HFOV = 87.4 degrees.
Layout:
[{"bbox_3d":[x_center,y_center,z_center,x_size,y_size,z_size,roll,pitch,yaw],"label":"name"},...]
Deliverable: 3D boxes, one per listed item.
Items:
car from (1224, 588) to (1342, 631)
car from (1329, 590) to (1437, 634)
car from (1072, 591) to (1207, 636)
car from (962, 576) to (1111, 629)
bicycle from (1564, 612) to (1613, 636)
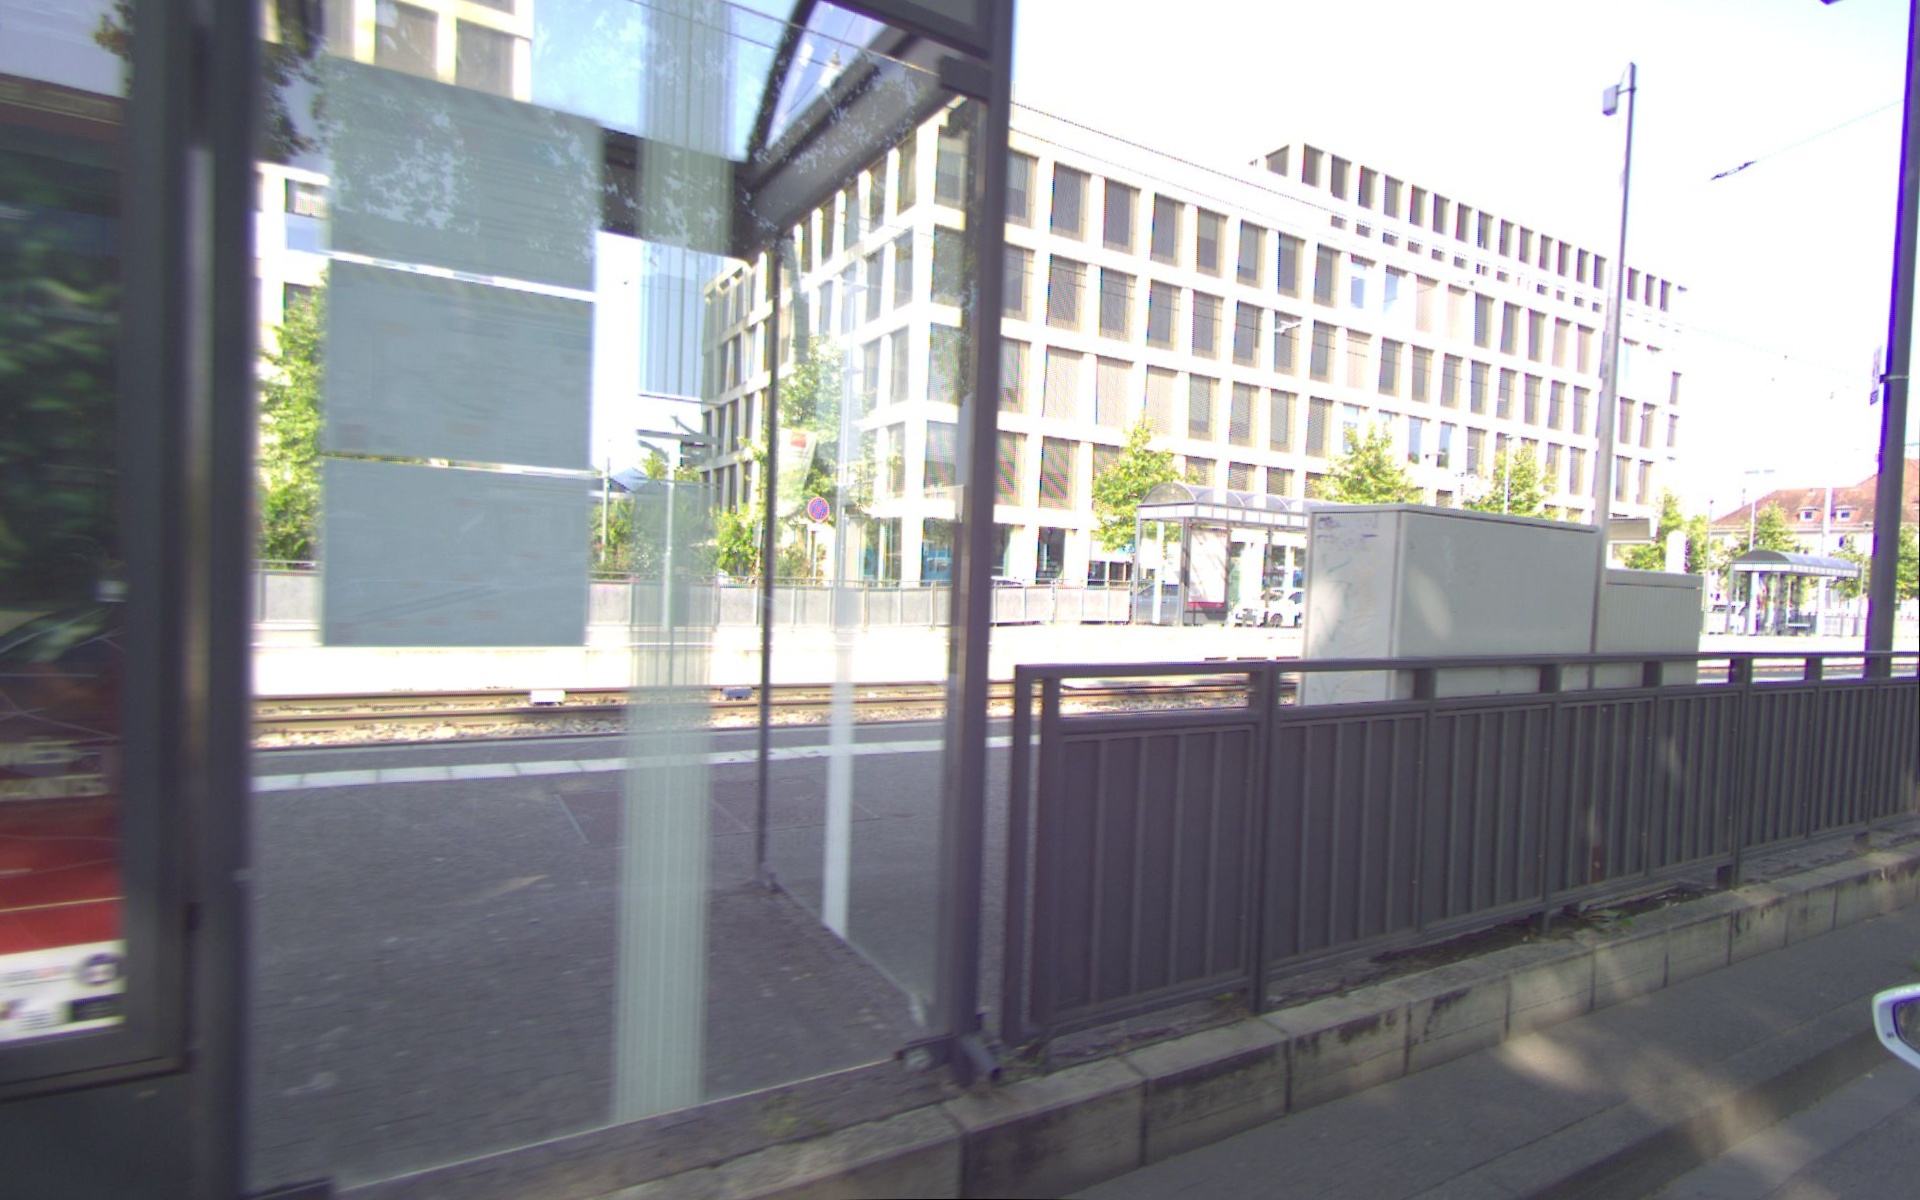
[{"bbox_3d":[11.531,0.345,35.814,4.174,1.395,1.633,2,1,-31],"label":"car"},{"bbox_3d":[16.223,0.465,38.514,4.174,1.571,1.633,2,1,-31],"label":"car"},{"bbox_3d":[5.766,0.436,32.128,4.174,1.270,1.633,2,1,-31],"label":"car"},{"bbox_3d":[2.264,0.082,29.440,4.174,1.395,1.633,2,1,-31],"label":"car"},{"bbox_3d":[19.215,0.739,30.689,1.592,0.671,0.475,2,1,-26],"label":"bicycle"}]
